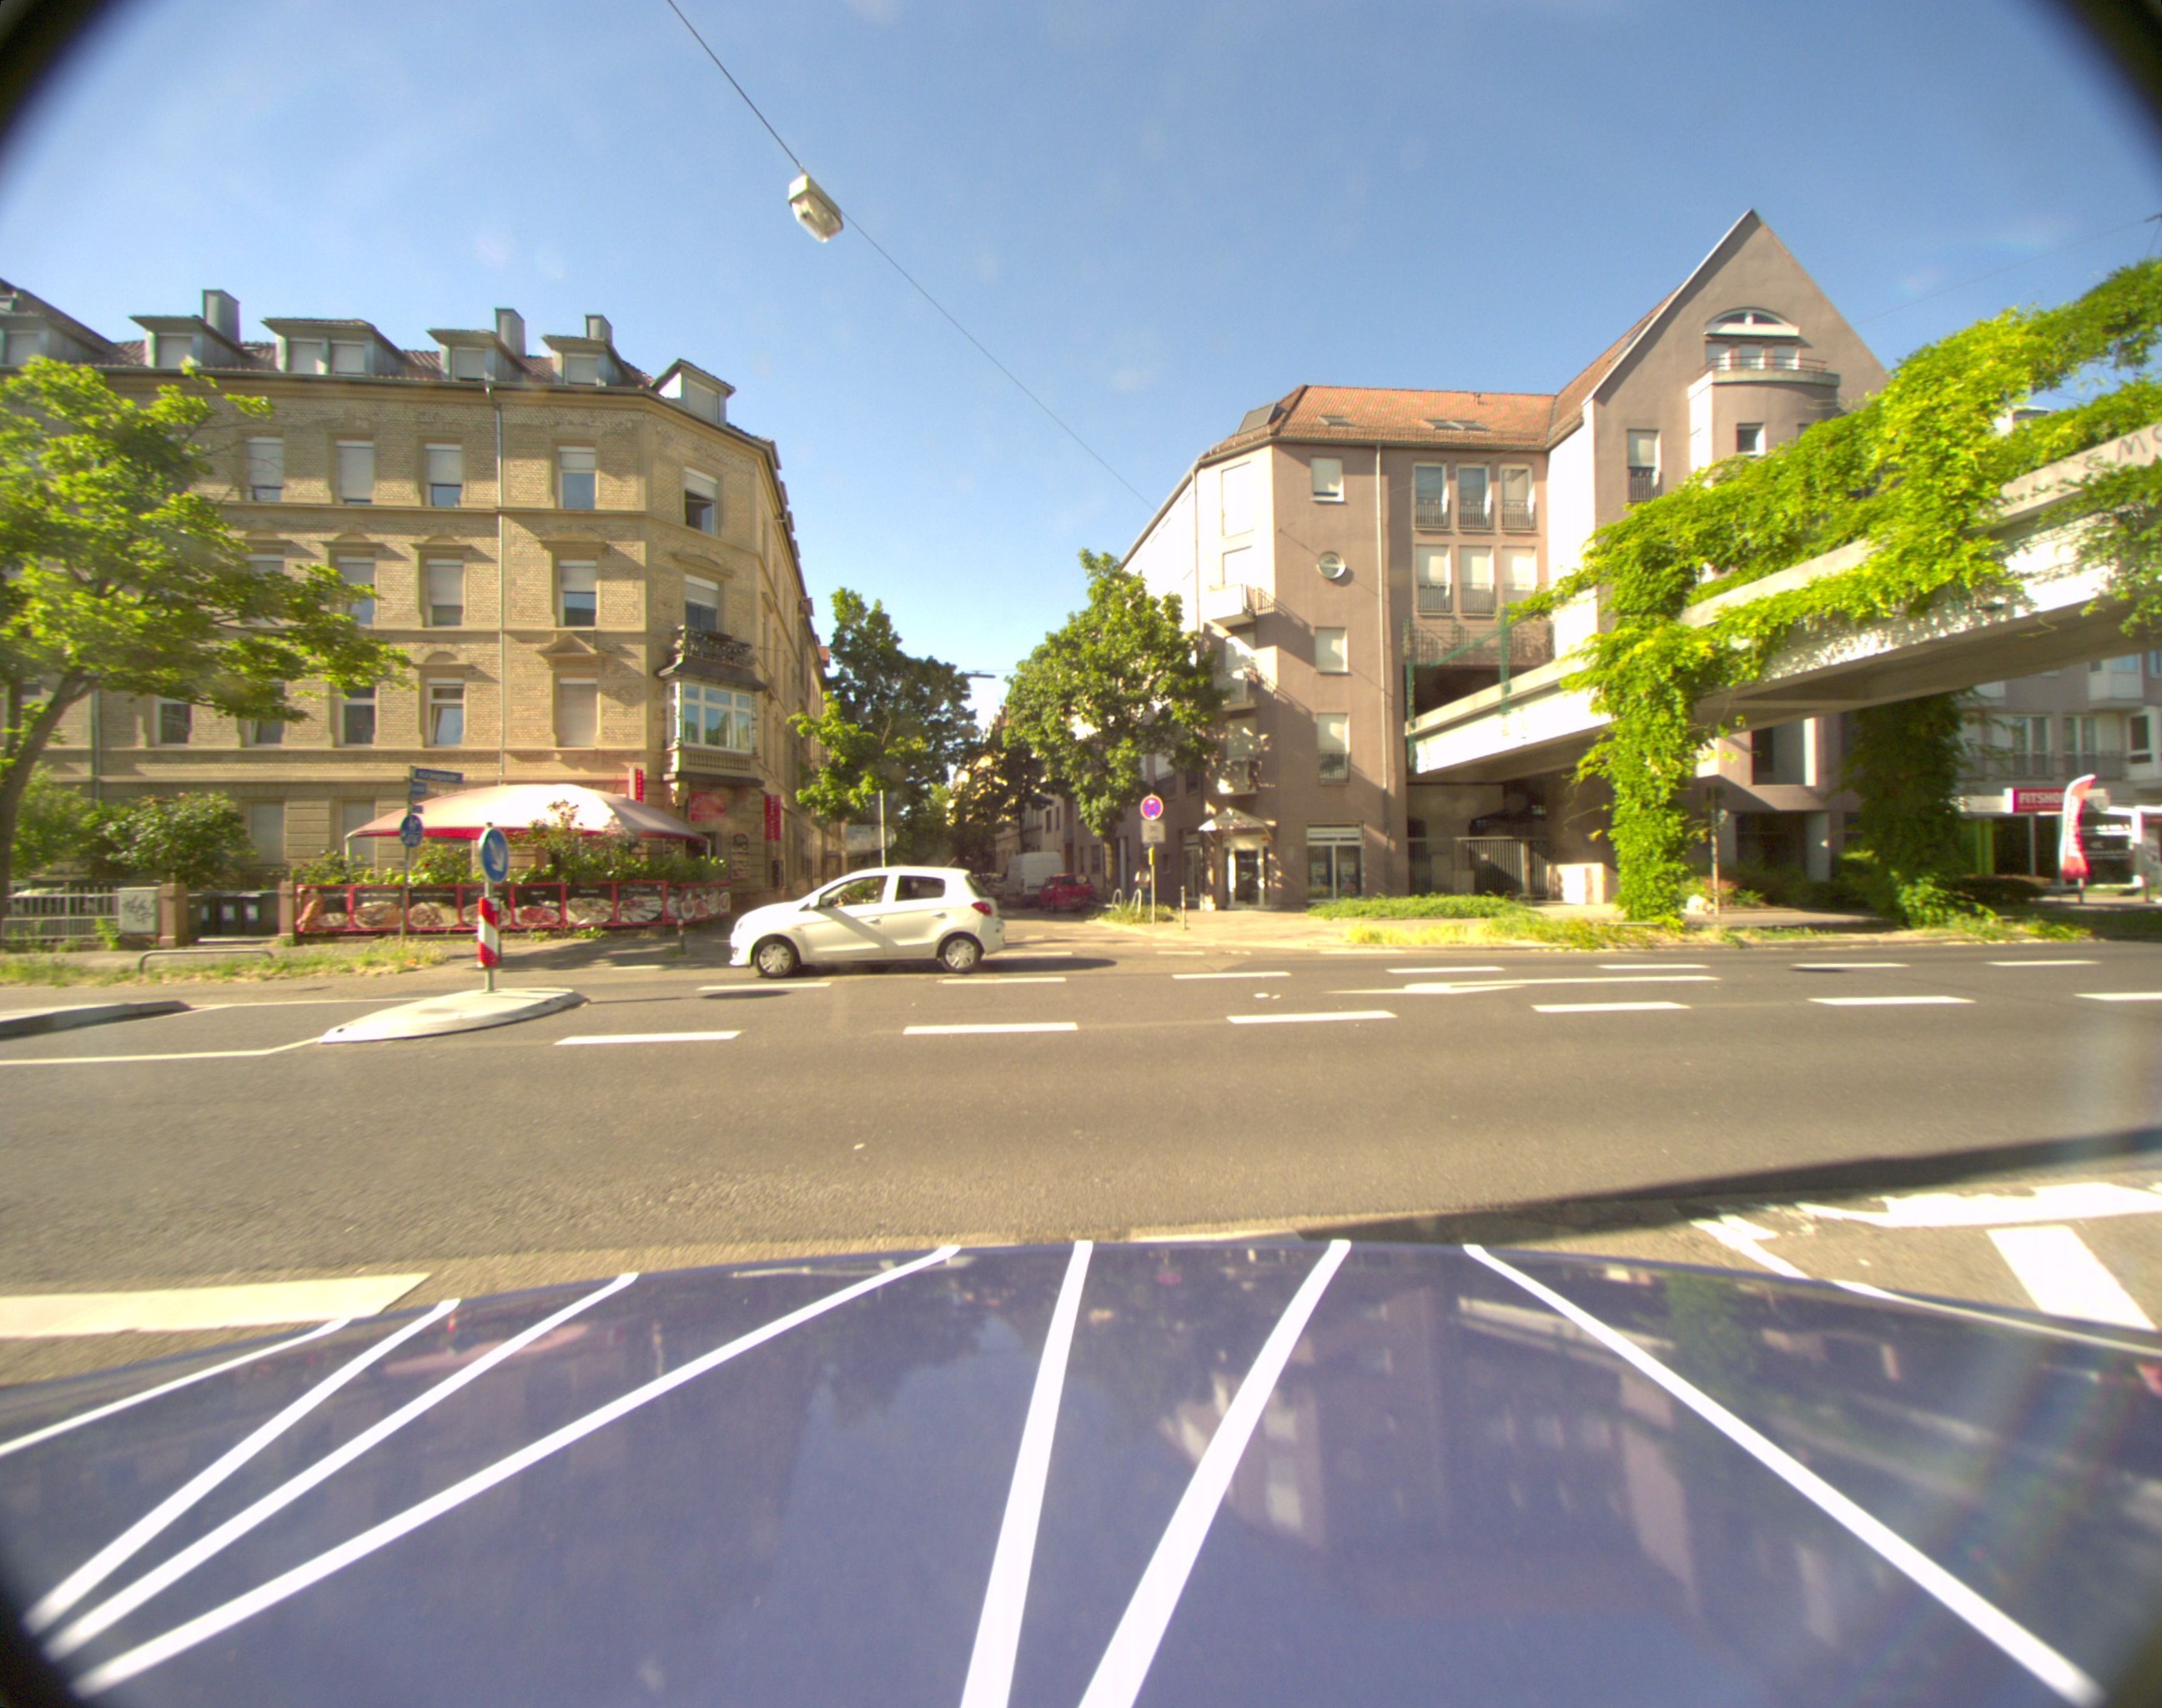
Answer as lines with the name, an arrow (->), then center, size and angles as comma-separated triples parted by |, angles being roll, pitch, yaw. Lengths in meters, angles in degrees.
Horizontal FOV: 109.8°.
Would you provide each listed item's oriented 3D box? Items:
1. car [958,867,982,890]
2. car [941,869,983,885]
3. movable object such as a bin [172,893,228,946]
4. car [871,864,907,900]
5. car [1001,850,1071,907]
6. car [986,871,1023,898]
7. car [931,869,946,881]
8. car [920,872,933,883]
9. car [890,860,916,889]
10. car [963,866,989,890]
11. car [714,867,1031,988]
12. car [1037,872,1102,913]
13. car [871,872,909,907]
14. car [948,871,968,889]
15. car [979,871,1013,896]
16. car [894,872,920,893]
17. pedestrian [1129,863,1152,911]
car -> -9.905, 2.153, 67.790 | 1.778, 1.870, 3.996 | -1, -1, -13
car -> -11.987, 2.323, 76.564 | 4.002, 1.576, 1.817 | 0, -3, -14
movable object such as a bin -> -19.515, 1.443, 16.835 | 0.551, 1.126, 0.570 | -1, 0, -4
car -> -11.524, 1.665, 45.730 | 1.998, 2.016, 4.300 | -1, -2, -13
car -> -2.213, 1.114, 35.795 | 2.222, 2.436, 5.088 | -1, -1, -16
car -> -4.694, 1.835, 46.313 | 1.696, 1.547, 3.818 | -1, -1, -14
car -> -21.806, 3.229, 115.941 | 1.870, 1.759, 3.995 | -1, -1, -15
car -> -26.235, 4.006, 128.561 | 1.870, 1.759, 3.995 | -1, -1, -15
car -> -16.972, 1.971, 72.395 | 2.277, 2.645, 4.318 | -1, -3, -15
car -> -8.570, 1.948, 61.881 | 1.778, 1.870, 3.996 | -1, -1, -13
car -> -2.804, 0.978, 10.912 | 4.098, 1.521, 1.664 | -1, -1, -5
car -> -0.540, 1.445, 29.772 | 1.693, 1.454, 3.996 | -1, -1, -13
car -> -9.237, 1.684, 36.643 | 1.696, 1.585, 3.996 | -1, -2, -15
car -> -13.207, 2.733, 81.454 | 1.778, 1.870, 3.996 | -1, -1, -13
car -> -5.710, 1.927, 50.597 | 1.786, 1.547, 3.818 | -1, -1, -14
car -> -12.856, 2.099, 55.891 | 1.696, 1.464, 3.996 | -1, -2, -15
pedestrian -> 1.952, 1.082, 24.964 | 0.633, 1.567, 0.532 | -1, 0, 20
